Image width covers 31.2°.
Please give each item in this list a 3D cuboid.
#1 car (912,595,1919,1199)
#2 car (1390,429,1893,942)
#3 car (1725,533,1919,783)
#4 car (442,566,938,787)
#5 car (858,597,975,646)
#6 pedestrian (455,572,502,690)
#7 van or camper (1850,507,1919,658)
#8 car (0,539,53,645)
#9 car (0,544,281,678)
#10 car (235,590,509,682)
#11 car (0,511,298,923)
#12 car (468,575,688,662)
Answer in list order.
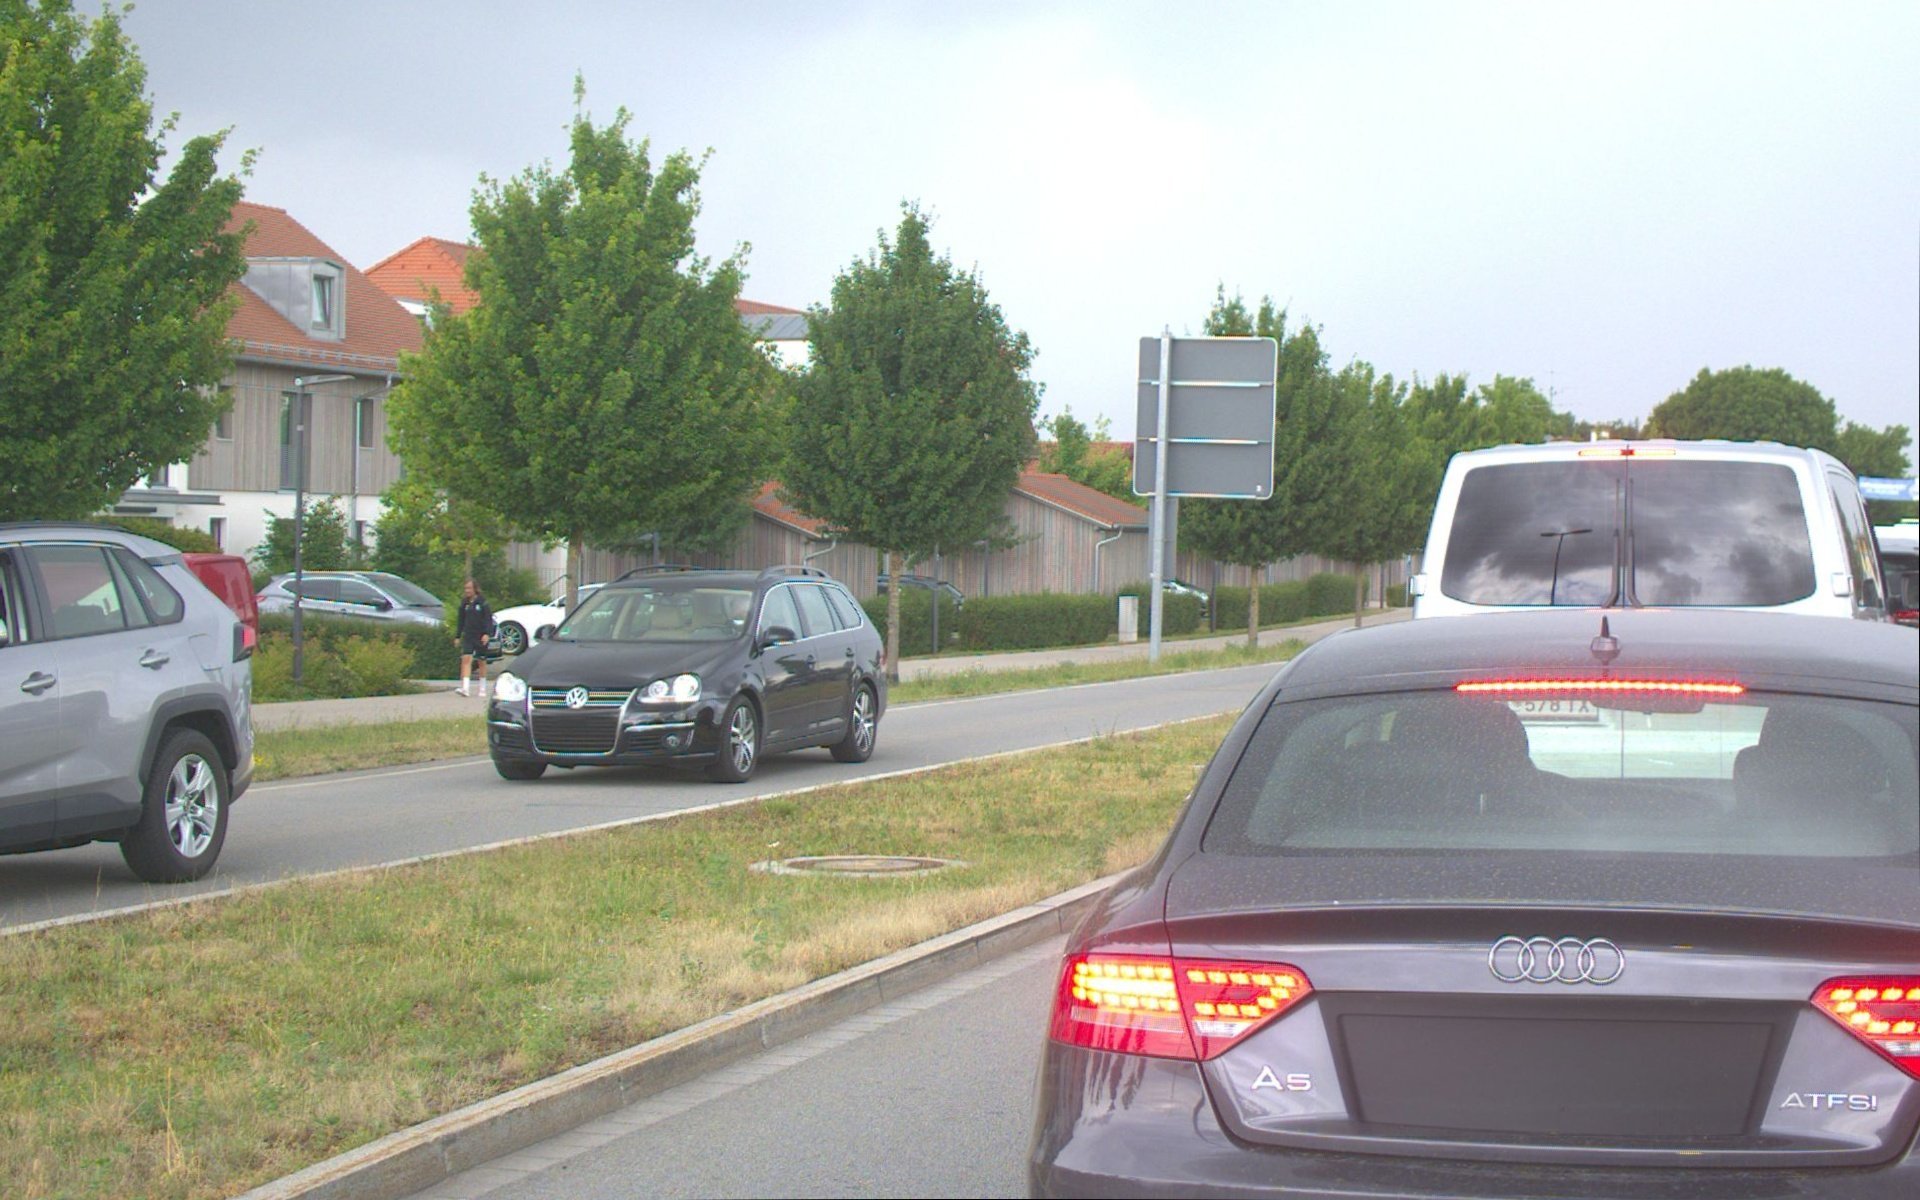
[{"bbox_3d":[1.306,0.708,6.631,1.785,1.387,4.130,0,1,14],"label":"car"},{"bbox_3d":[3.090,0.284,15.177,1.868,1.927,3.998,1,1,14],"label":"car"},{"bbox_3d":[6.533,0.371,24.546,1.778,1.612,3.997,2,1,16],"label":"car"},{"bbox_3d":[-1.799,0.475,24.492,1.755,1.411,4.451,1,1,21],"label":"car"},{"bbox_3d":[-0.984,0.478,78.775,2.473,1.025,1.185,2,1,11],"label":"car"},{"bbox_3d":[-6.460,0.413,46.136,0.581,1.553,0.660,2,1,-8],"label":"pedestrian"},{"bbox_3d":[22.158,-0.354,79.825,2.627,3.312,6.816,2,0,16],"label":"van or camper"},{"bbox_3d":[-17.150,-0.169,56.625,1.996,1.766,4.460,2,0,21],"label":"car"},{"bbox_3d":[-11.879,0.114,47.383,4.535,1.674,1.998,2,1,20],"label":"car"},{"bbox_3d":[-9.467,0.557,55.443,3.917,1.310,1.841,2,1,14],"label":"car"},{"bbox_3d":[-4.835,0.463,14.648,1.995,1.698,4.631,1,1,17],"label":"car"},{"bbox_3d":[-7.183,0.326,64.756,3.732,1.477,1.685,2,1,14],"label":"car"}]
